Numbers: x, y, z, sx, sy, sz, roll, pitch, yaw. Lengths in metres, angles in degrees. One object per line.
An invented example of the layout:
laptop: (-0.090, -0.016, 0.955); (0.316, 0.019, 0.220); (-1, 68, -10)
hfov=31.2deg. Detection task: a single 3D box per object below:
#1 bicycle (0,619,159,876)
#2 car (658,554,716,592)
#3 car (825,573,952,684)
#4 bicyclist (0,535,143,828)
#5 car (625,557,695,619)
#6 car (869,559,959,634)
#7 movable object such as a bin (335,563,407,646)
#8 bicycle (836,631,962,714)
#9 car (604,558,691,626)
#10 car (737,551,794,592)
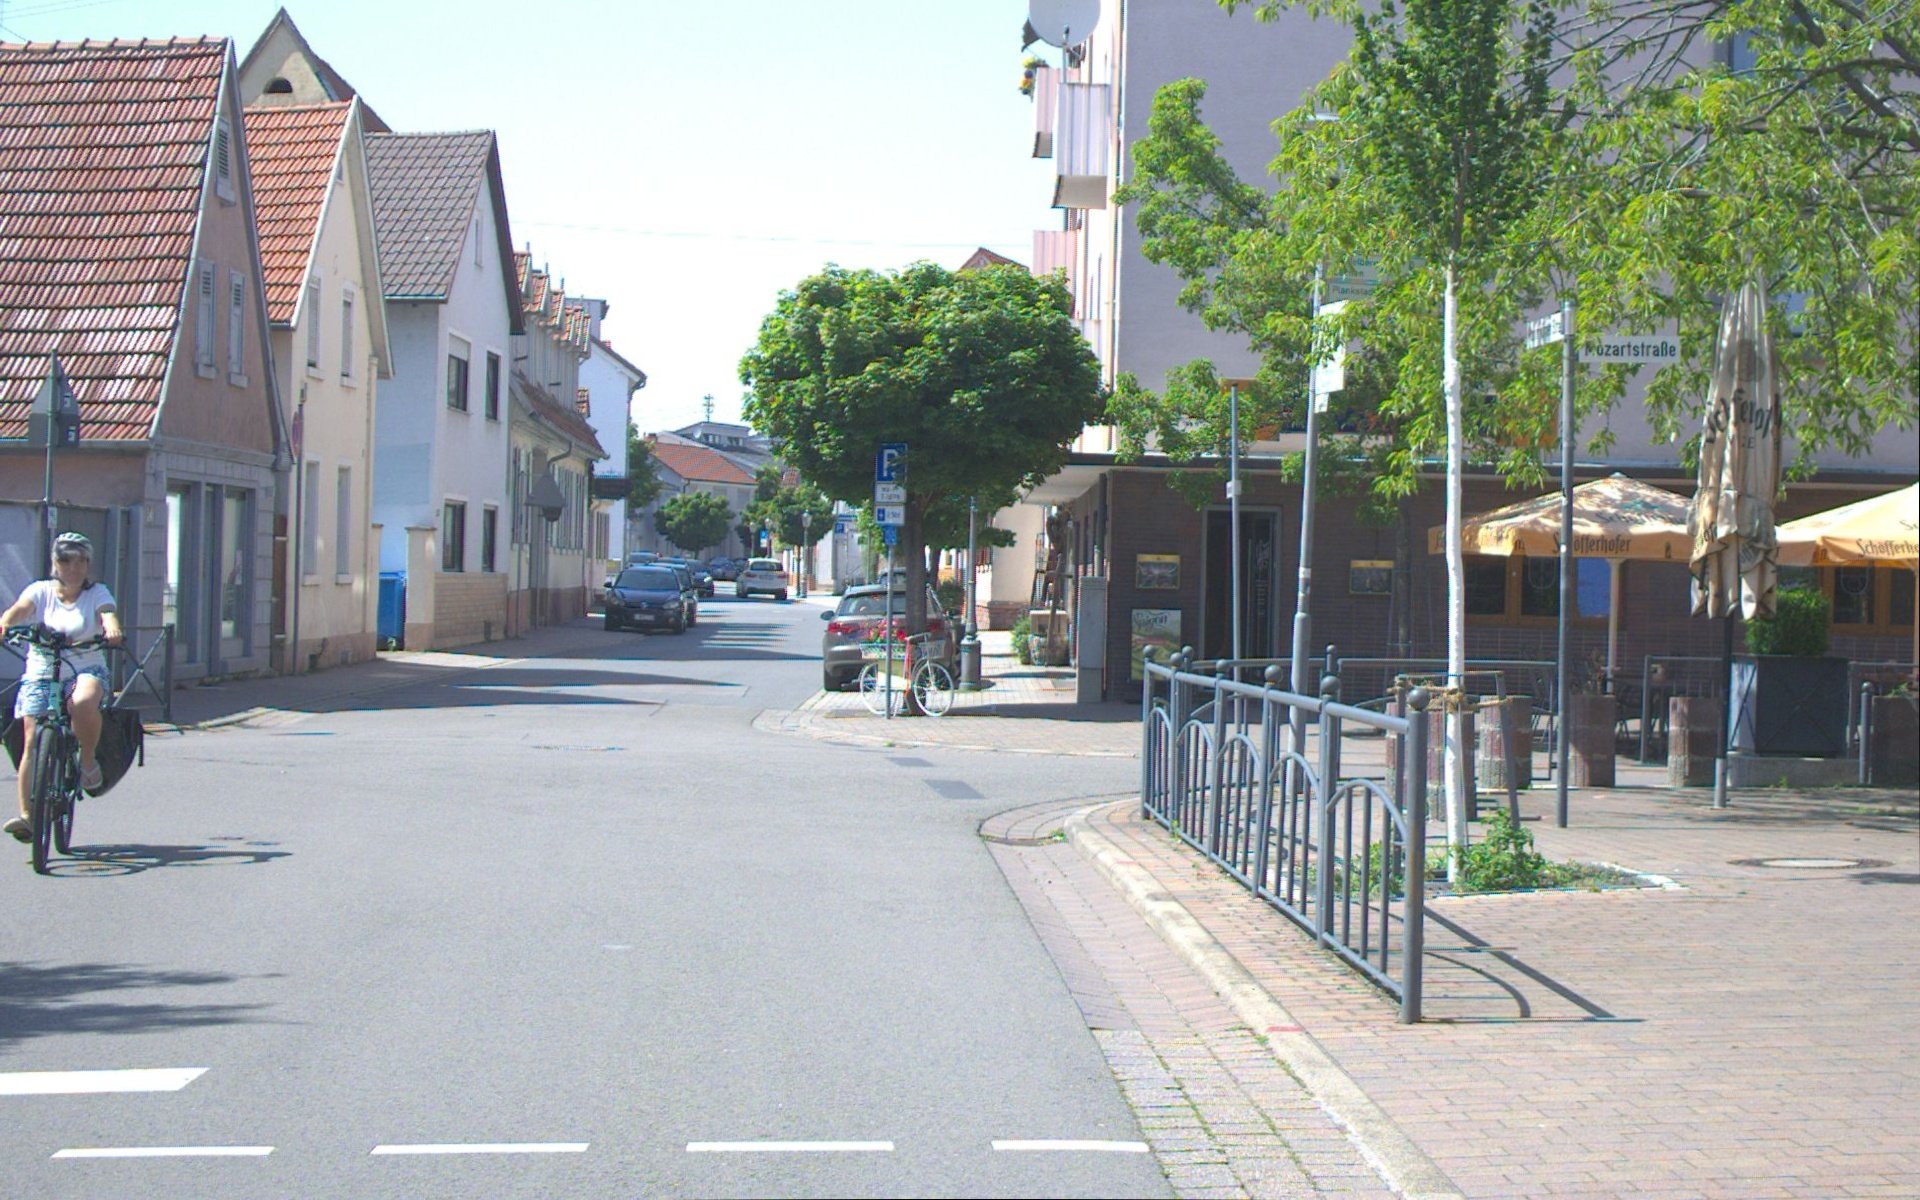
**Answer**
bicycle: (-4.767, 0.743, 18.180); (0.708, 1.248, 1.972); (-1, 1, -4)
car: (-11.008, -1.070, 138.454); (1.908, 1.476, 4.845); (1, 0, -10)
car: (-0.954, 0.363, 47.192); (1.576, 1.449, 3.486); (1, 0, 1)
bicyclist: (-4.743, 0.414, 18.084); (0.714, 1.501, 0.871); (1, 0, -4)
car: (-7.383, -0.303, 84.746); (1.663, 1.471, 3.451); (1, 1, -4)
car: (-1.079, -0.107, 81.059); (2.043, 1.683, 4.842); (1, 1, -1)
movable object such as a bin: (-9.724, 0.074, 56.772); (1.102, 1.361, 0.390); (1, 0, 3)
bicycle: (-0.692, 0.807, 38.574); (1.412, 0.894, 0.464); (0, 1, 36)
car: (-7.077, -0.202, 78.192); (1.663, 1.471, 4.135); (1, 1, -1)
car: (-7.784, -1.147, 137.091); (2.026, 1.592, 4.510); (1, 1, -6)
